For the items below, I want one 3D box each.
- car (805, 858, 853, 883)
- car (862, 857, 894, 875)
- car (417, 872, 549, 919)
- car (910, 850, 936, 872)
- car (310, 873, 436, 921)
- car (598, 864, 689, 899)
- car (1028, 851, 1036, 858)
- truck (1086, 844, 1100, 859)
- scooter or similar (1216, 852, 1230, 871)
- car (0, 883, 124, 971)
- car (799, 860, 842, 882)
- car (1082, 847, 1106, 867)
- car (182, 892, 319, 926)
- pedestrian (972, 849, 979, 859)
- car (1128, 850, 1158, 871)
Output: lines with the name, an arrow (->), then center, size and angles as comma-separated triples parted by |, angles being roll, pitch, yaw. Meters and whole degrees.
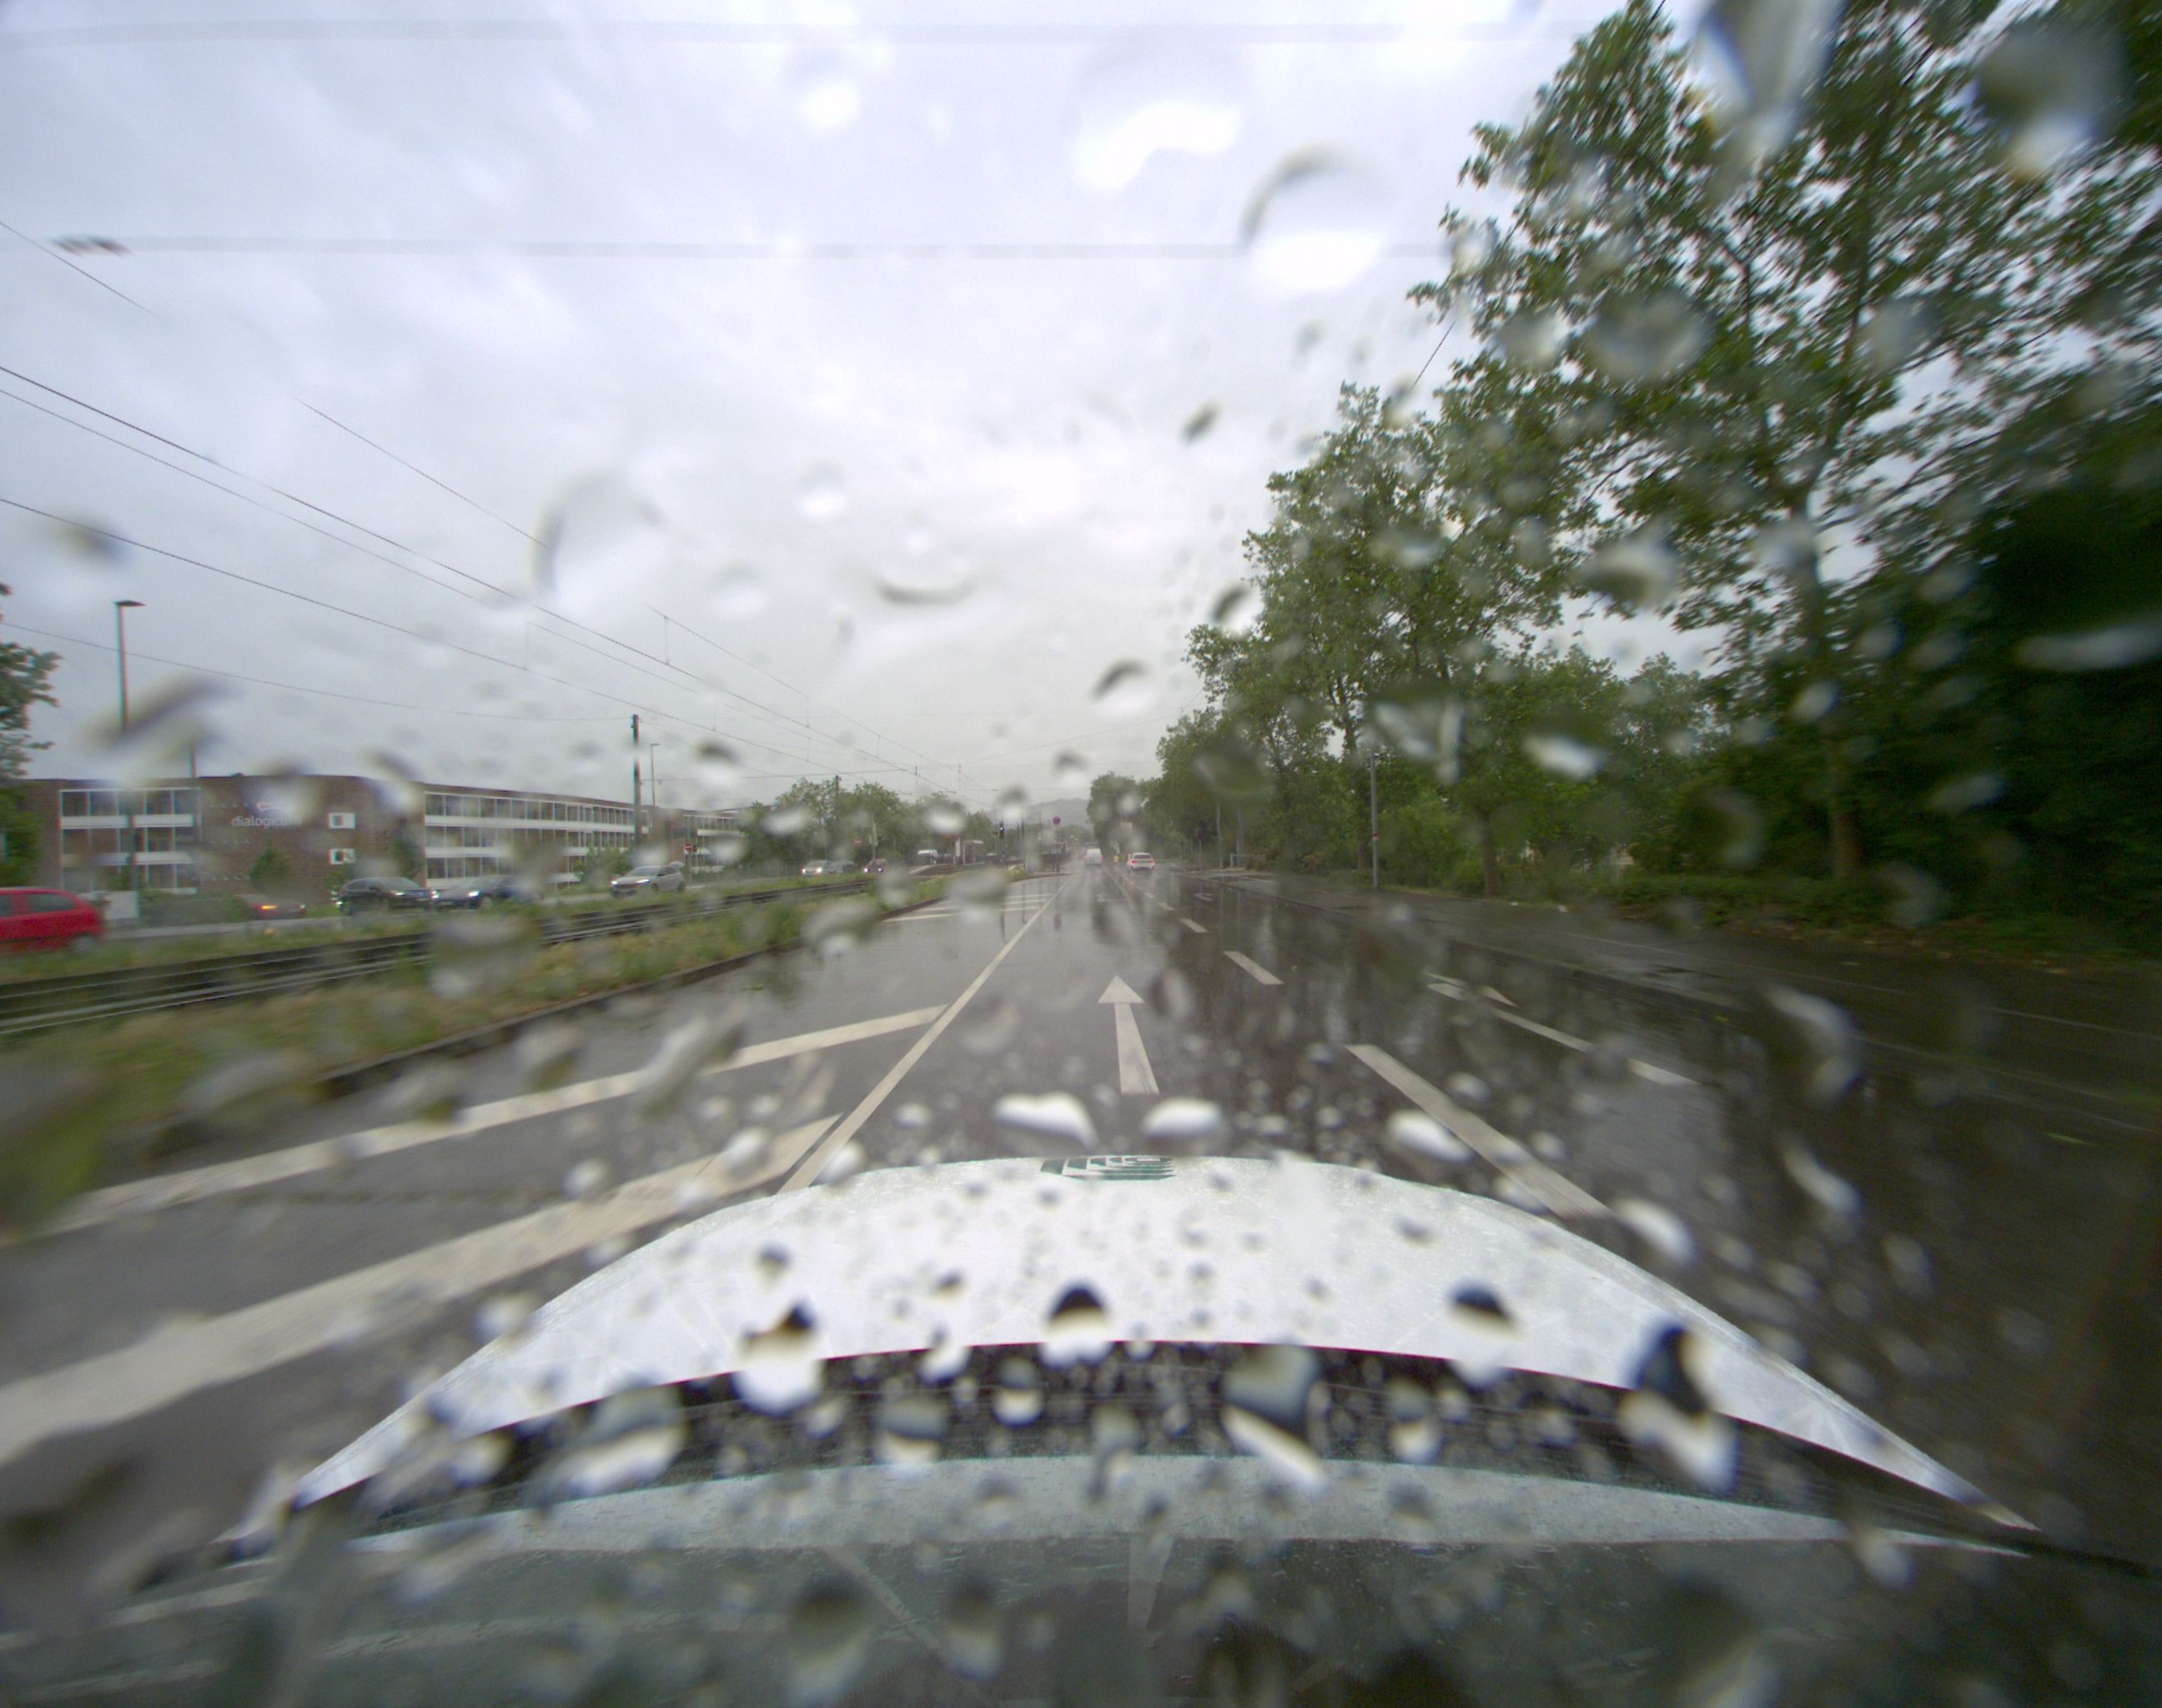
car -> -18.363, 1.187, 59.562 | 1.986, 1.596, 4.382 | -5, 0, 1
car -> -20.277, 1.167, 81.507 | 1.986, 1.707, 4.625 | 0, 0, 1
car -> -24.086, 1.623, 33.067 | 1.987, 1.681, 4.538 | -1, 0, 0
car -> -20.229, 0.908, 104.669 | 2.112, 2.712, 5.739 | 0, 0, 1
car -> -30.483, 1.786, 35.169 | 4.021, 1.860, 1.976 | 0, 0, -41
car -> -20.701, 1.248, 38.759 | 1.987, 1.486, 4.298 | -1, 0, 0
car -> -14.380, 0.184, 237.294 | 1.986, 2.014, 4.001 | 0, -1, 1
truck -> 3.063, -0.568, 212.668 | 2.769, 3.704, 9.840 | 0, 0, -3
scooter or similar -> 9.799, 0.489, 56.081 | 0.756, 1.293, 1.648 | 0, -1, 3
car -> -21.011, 1.391, 15.354 | 1.596, 1.590, 3.620 | 0, 0, 1
car -> -20.690, 1.348, 64.855 | 1.986, 1.596, 4.095 | -2, 0, 1
car -> 1.201, 0.321, 78.327 | 1.989, 1.849, 3.995 | -1, 0, -3
car -> -37.913, 2.498, 37.229 | 4.341, 1.442, 2.002 | 0, 0, 4
pedestrian -> -13.624, 0.030, 105.320 | 0.828, 1.316, 0.858 | 0, 0, 1
car -> 4.301, 0.441, 56.642 | 1.881, 1.431, 4.001 | -1, 0, 1
